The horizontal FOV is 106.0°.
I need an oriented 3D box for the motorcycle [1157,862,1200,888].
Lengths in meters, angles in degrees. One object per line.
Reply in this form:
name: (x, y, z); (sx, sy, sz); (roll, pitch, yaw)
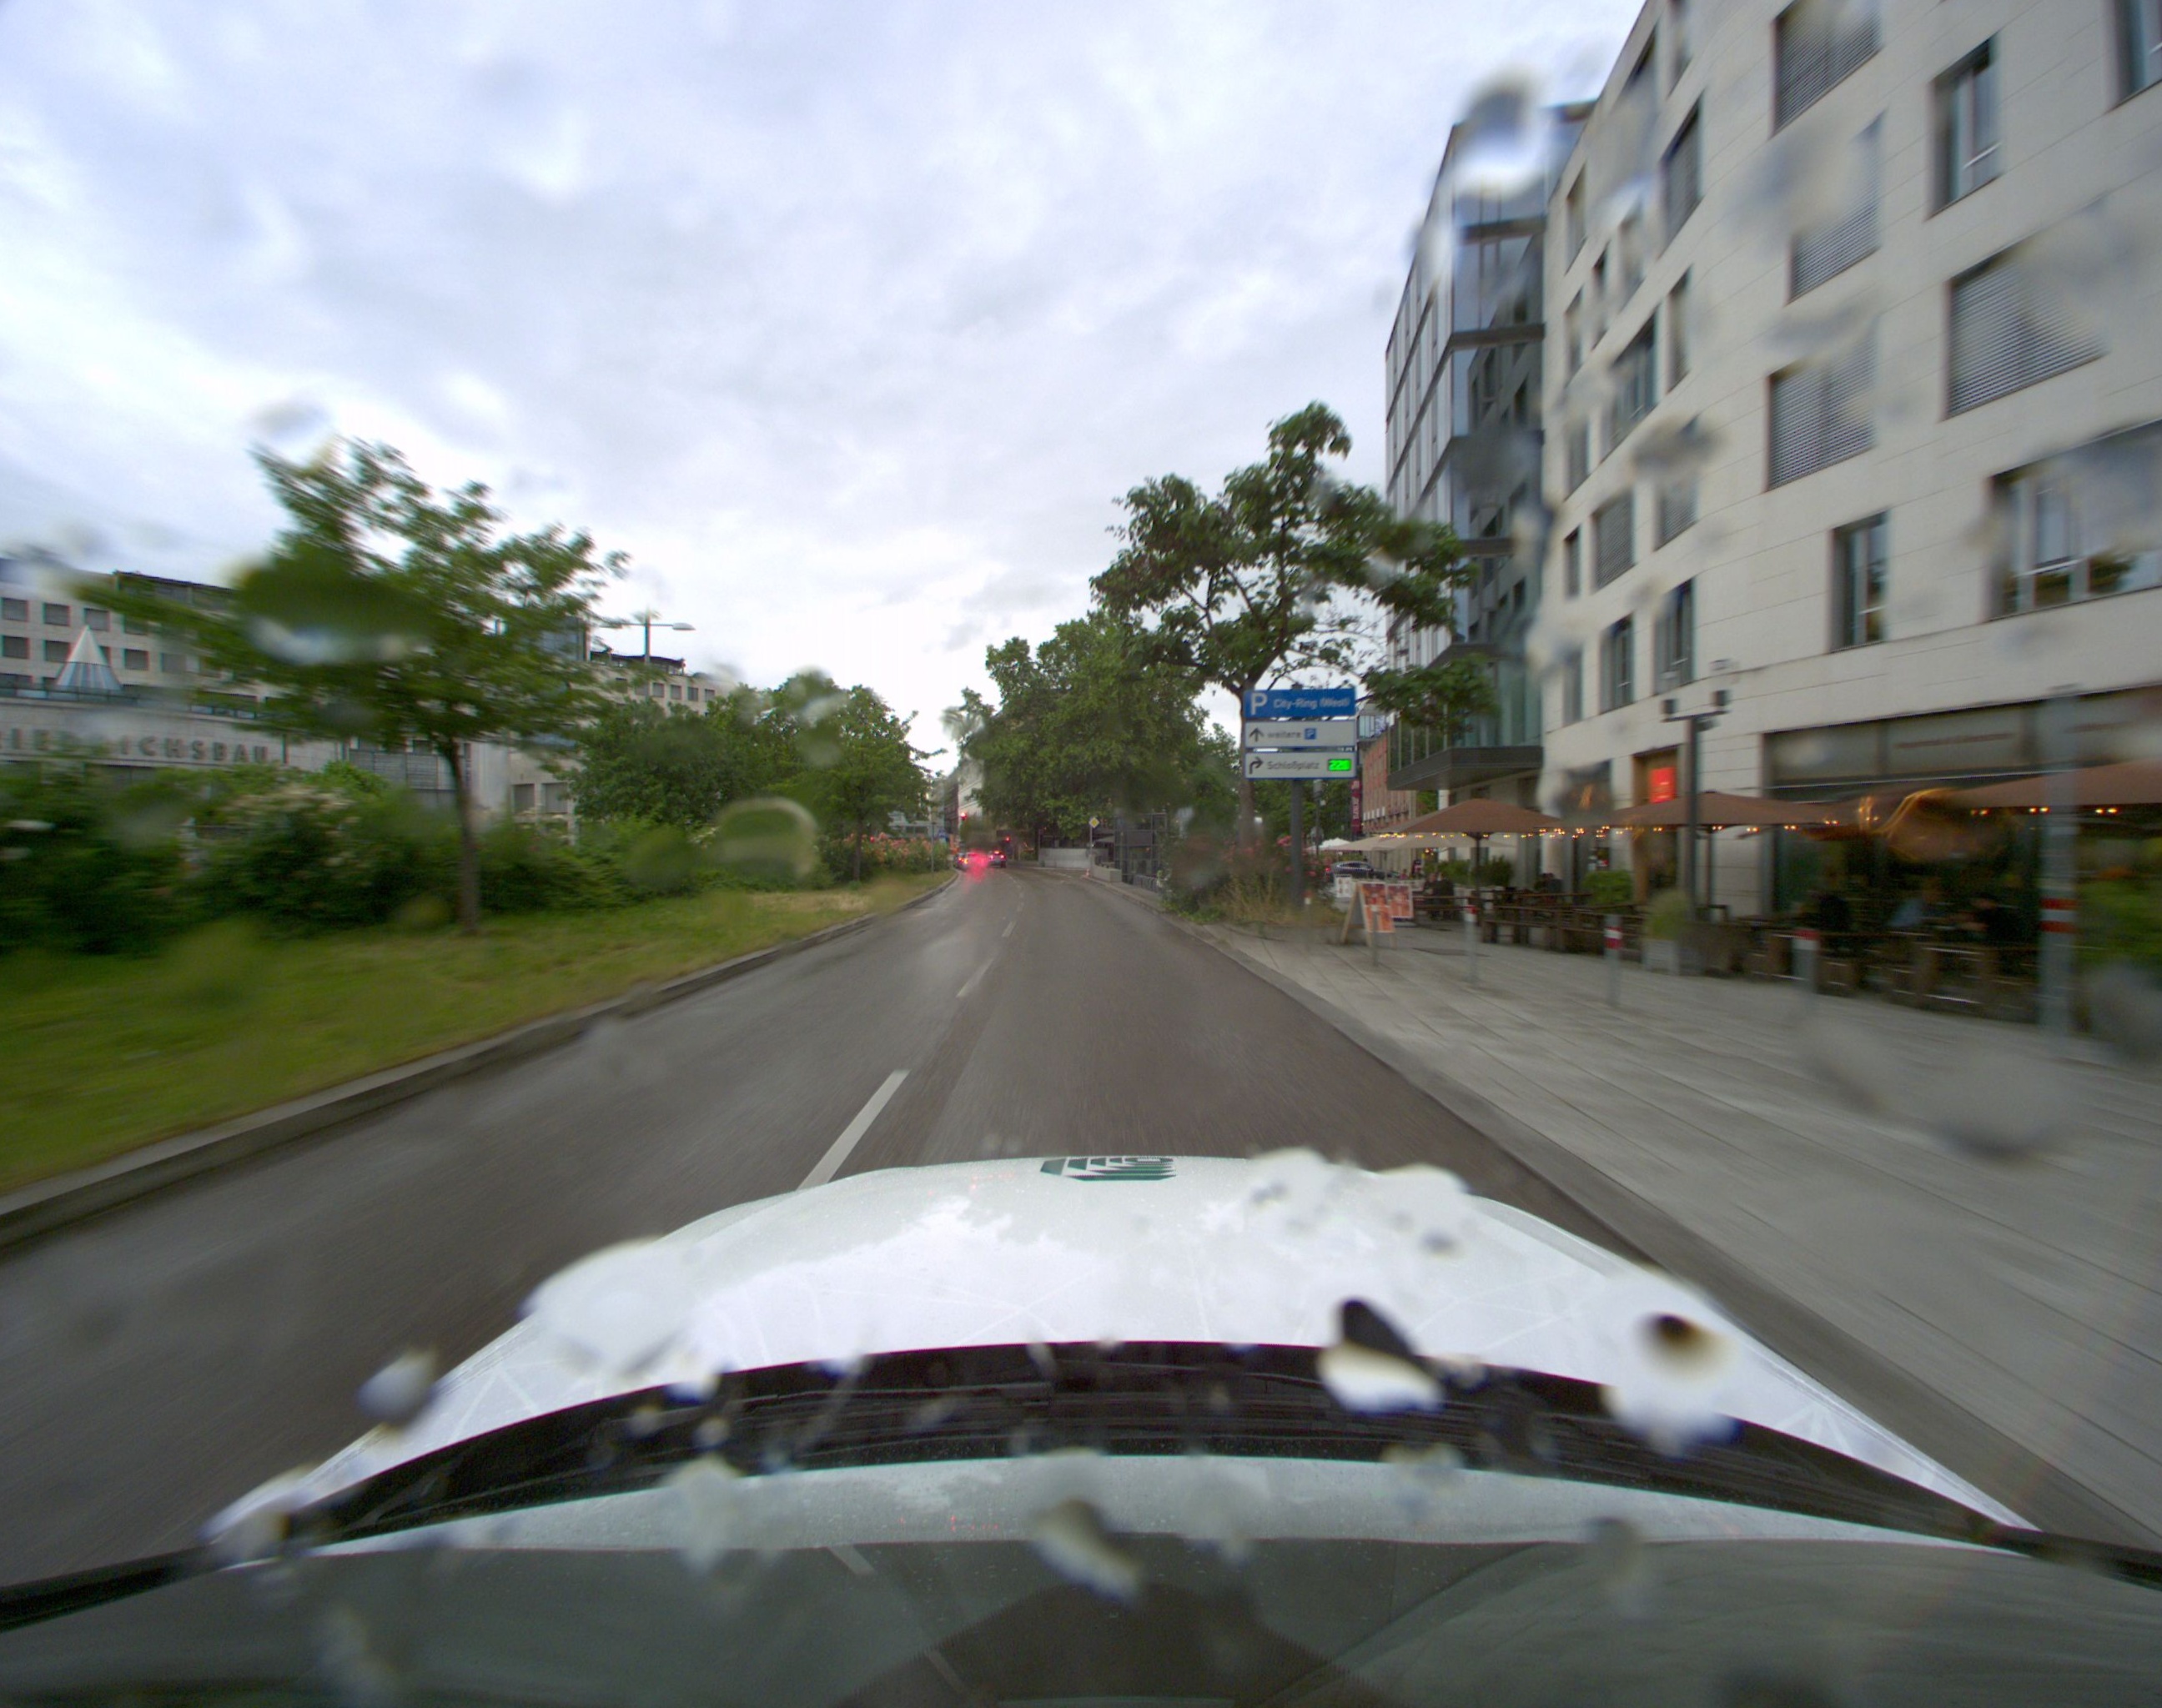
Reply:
motorcycle: (4.357, 0.929, 36.439); (1.775, 1.158, 0.606); (1, 0, -7)

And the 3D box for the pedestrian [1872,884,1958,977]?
pedestrian: (12.450, 1.131, 12.171); (0.627, 1.326, 0.633); (2, 0, -12)

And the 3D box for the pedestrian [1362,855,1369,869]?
pedestrian: (34.193, 0.950, 97.909); (0.644, 1.661, 0.652); (2, 0, 12)

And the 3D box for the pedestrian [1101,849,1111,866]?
pedestrian: (2.047, 0.285, 67.765); (0.684, 1.410, 0.903); (2, -1, -7)

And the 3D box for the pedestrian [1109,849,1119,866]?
pedestrian: (2.756, 0.276, 67.900); (0.684, 1.410, 0.903); (2, -1, -7)

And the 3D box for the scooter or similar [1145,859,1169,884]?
scooter or similar: (3.765, 0.858, 40.168); (1.111, 1.234, 0.364); (1, 0, -7)

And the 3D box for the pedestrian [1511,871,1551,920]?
pedestrian: (12.861, 1.182, 23.292); (0.812, 1.326, 0.637); (2, 0, 8)

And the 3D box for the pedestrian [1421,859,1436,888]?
pedestrian: (22.274, 1.236, 52.209); (0.607, 1.809, 0.807); (1, 0, -4)

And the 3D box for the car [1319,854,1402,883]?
car: (17.448, 0.873, 51.085); (4.703, 1.691, 2.011); (1, 1, 11)

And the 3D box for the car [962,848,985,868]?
car: (-8.578, 0.288, 64.783); (1.591, 1.491, 3.492); (-2, 1, -11)

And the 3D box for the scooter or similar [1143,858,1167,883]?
scooter or similar: (3.698, 0.820, 40.597); (1.111, 1.269, 0.364); (1, 0, -7)

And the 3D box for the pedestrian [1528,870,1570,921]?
pedestrian: (12.859, 1.139, 22.392); (0.812, 1.326, 0.637); (2, 0, 8)

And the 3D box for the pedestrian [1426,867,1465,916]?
pedestrian: (10.203, 1.041, 22.810); (0.812, 1.326, 0.637); (2, 0, 8)

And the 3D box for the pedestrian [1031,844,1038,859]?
pedestrian: (-5.494, -0.316, 96.272); (0.858, 1.780, 0.715); (-1, -1, -8)

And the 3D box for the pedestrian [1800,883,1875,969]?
pedestrian: (12.403, 1.168, 13.358); (0.627, 1.326, 0.633); (2, 0, -12)

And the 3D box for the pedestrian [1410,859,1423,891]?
pedestrian: (14.932, 0.942, 36.246); (0.432, 1.403, 0.479); (-1, -1, 10)

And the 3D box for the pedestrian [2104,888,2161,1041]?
pedestrian: (9.930, 0.999, 7.256); (0.769, 1.326, 0.637); (2, 0, 7)

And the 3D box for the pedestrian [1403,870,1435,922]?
pedestrian: (8.823, 1.088, 21.285); (0.602, 1.326, 0.569); (2, 0, 8)

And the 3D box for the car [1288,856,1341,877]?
car: (16.869, 0.903, 58.983); (1.619, 1.416, 3.494); (1, 0, -32)

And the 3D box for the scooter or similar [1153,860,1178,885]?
scooter or similar: (4.005, 0.891, 38.799); (1.111, 1.158, 0.442); (1, 0, -7)

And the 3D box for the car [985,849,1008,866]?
car: (-8.536, 0.328, 81.786); (1.948, 1.666, 4.329); (0, 0, -11)

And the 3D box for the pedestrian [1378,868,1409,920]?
pedestrian: (8.194, 1.040, 21.364); (0.602, 1.326, 0.569); (2, 0, 8)

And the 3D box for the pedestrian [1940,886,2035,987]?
pedestrian: (12.576, 1.125, 11.315); (0.627, 1.326, 0.633); (2, 0, -12)

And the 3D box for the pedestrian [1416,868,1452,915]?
pedestrian: (10.317, 1.084, 23.828); (0.812, 1.326, 0.637); (2, 0, 8)
